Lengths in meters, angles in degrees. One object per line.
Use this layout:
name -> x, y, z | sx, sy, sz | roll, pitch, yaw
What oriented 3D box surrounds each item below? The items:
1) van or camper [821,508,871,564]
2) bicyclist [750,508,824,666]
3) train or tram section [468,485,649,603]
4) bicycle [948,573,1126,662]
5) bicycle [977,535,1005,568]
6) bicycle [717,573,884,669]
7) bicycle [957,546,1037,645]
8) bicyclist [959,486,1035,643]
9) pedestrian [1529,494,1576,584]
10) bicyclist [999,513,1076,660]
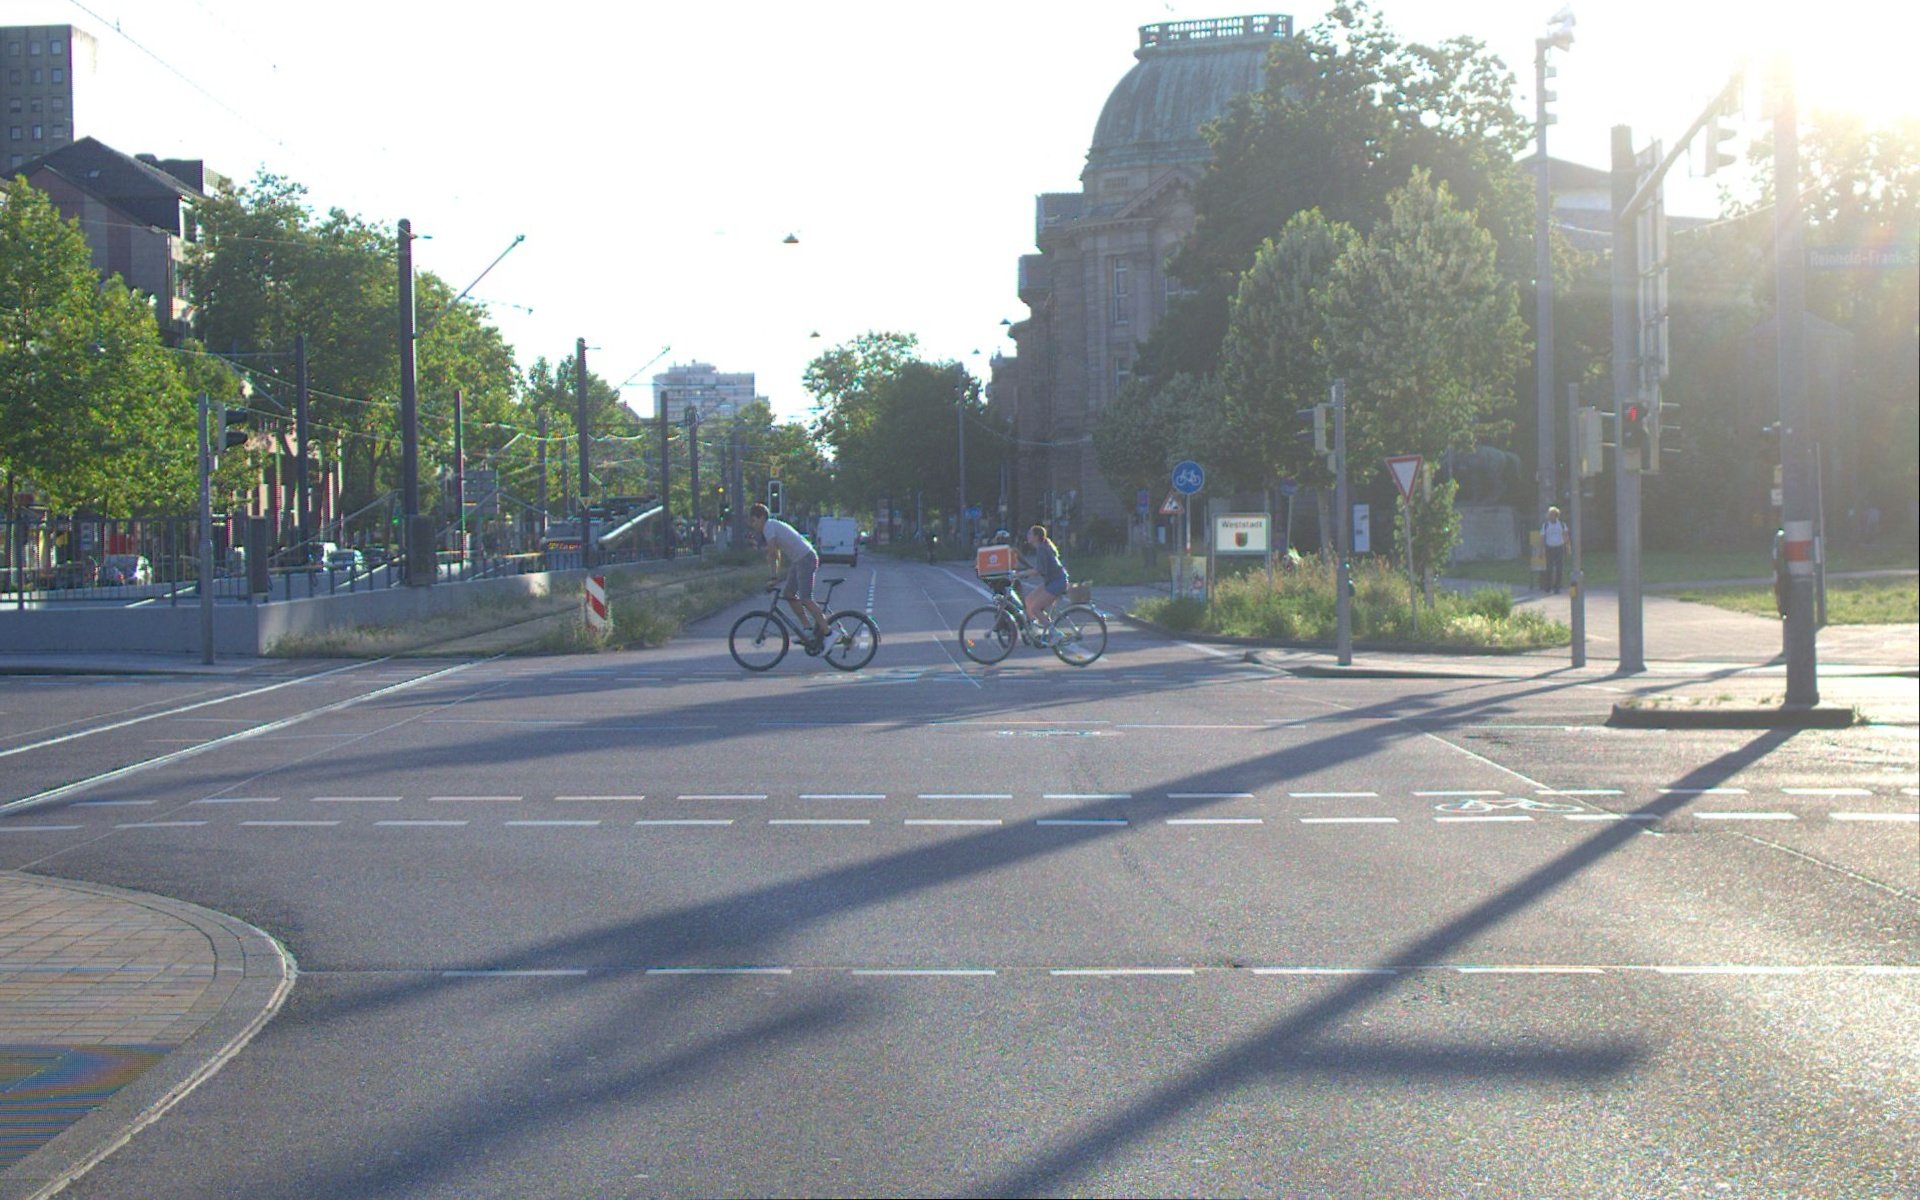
van or camper -> -5.824, -3.239, 174.907 | 2.449, 2.761, 5.601 | -1, 1, -2
bicyclist -> -2.019, -0.154, 40.065 | 0.792, 1.812, 0.646 | -1, 1, -6
train or tram section -> -14.440, -2.127, 124.957 | 4.387, 3.836, 11.410 | -1, 3, 4
bicycle -> 0.952, 0.213, 42.825 | 2.163, 1.080, 0.539 | 0, 0, -6
bicycle -> 1.061, -1.675, 118.629 | 0.924, 1.108, 2.333 | -1, 1, -1
bicycle -> -1.870, 0.238, 40.091 | 1.901, 1.071, 0.632 | -1, 1, -5
bicycle -> 0.524, -0.084, 50.496 | 1.098, 1.394, 2.832 | -1, 1, -1
bicyclist -> 0.535, -0.526, 50.375 | 1.082, 2.268, 0.986 | 0, 1, -1
pedestrian -> 11.980, -1.231, 69.504 | 0.833, 1.797, 0.810 | -1, 1, 15
bicyclist -> 0.959, -0.171, 42.815 | 0.876, 1.812, 0.538 | -1, 1, -6
